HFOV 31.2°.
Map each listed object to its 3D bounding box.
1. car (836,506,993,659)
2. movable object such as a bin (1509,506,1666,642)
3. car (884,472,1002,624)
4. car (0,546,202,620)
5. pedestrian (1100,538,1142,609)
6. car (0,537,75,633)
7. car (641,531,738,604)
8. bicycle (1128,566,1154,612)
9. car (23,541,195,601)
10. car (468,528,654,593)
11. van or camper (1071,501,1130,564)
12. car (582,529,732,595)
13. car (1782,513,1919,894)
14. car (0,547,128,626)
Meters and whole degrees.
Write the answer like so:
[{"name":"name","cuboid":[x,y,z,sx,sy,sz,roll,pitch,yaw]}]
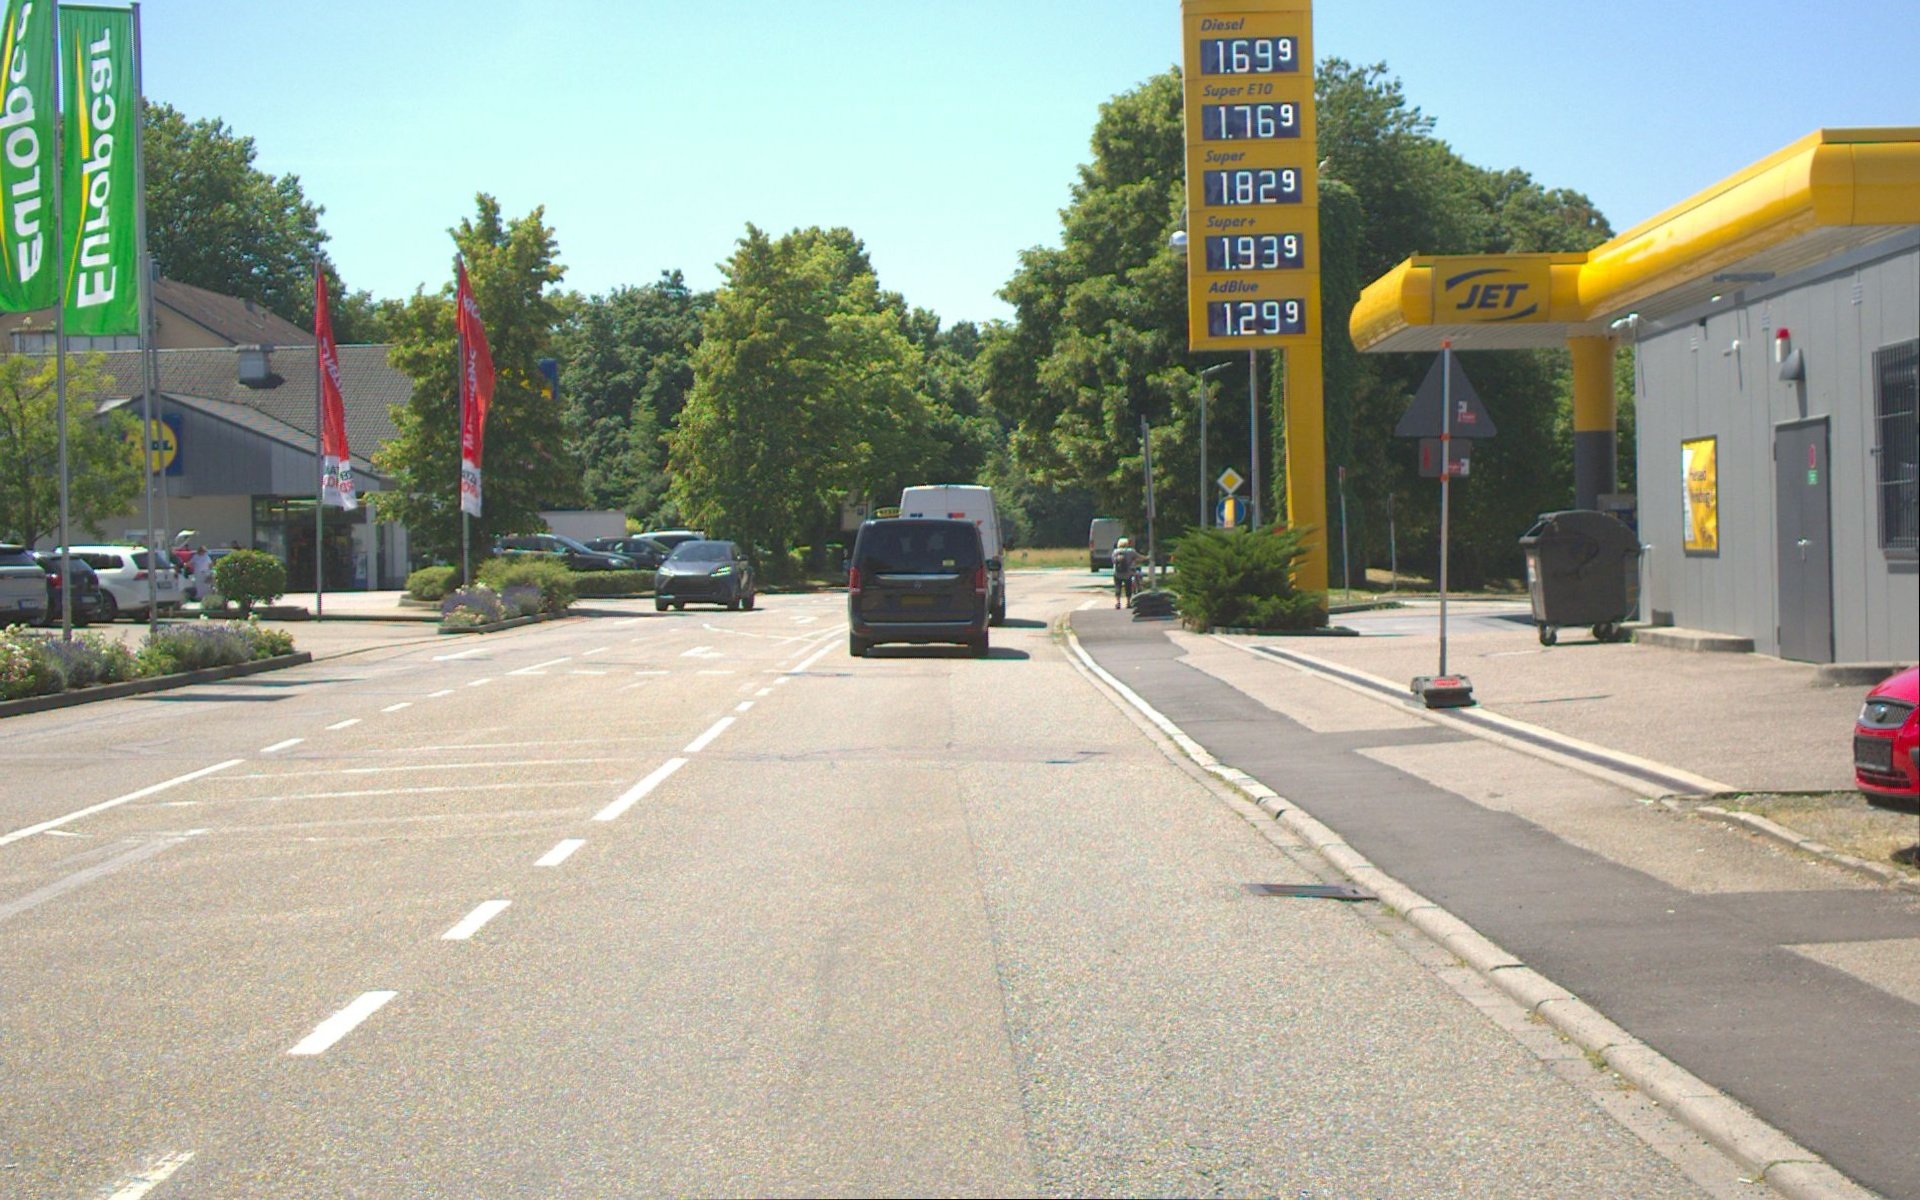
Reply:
[{"name":"car","cuboid":[-0.648,-0.262,47.391,1.993,1.946,5.005,1,1,-1]},{"name":"movable object such as a bin","cuboid":[6.961,-0.297,38.229,1.434,1.433,1.468,-2,1,0]},{"name":"car","cuboid":[-0.288,-0.972,64.546,2.078,2.693,4.666,1,1,1]},{"name":"car","cuboid":[-17.556,-0.356,68.860,4.187,1.441,1.978,0,1,16]},{"name":"pedestrian","cuboid":[3.224,-0.542,68.888,0.769,1.416,0.867,0,1,8]},{"name":"car","cuboid":[-18.251,-0.287,61.082,4.534,1.658,1.998,0,1,19]},{"name":"car","cuboid":[-5.998,-0.744,76.547,1.762,1.522,4.138,-2,1,0]},{"name":"bicycle","cuboid":[3.619,-0.223,68.711,0.378,0.909,1.597,0,1,8]},{"name":"car","cuboid":[-23.972,-0.813,96.955,4.312,1.649,2.114,0,0,0]},{"name":"car","cuboid":[-11.011,-1.100,94.975,4.709,1.756,2.098,0,0,8]},{"name":"van or camper","cuboid":[6.807,-3.248,166.641,2.632,2.919,5.207,1,0,0]},{"name":"car","cuboid":[-9.247,-1.153,105.124,4.356,1.973,1.905,0,0,2]},{"name":"car","cuboid":[5.937,0.344,14.916,4.224,1.529,1.958,-2,1,-1]},{"name":"car","cuboid":[-18.122,-0.281,66.070,3.629,1.469,1.998,0,1,19]}]
